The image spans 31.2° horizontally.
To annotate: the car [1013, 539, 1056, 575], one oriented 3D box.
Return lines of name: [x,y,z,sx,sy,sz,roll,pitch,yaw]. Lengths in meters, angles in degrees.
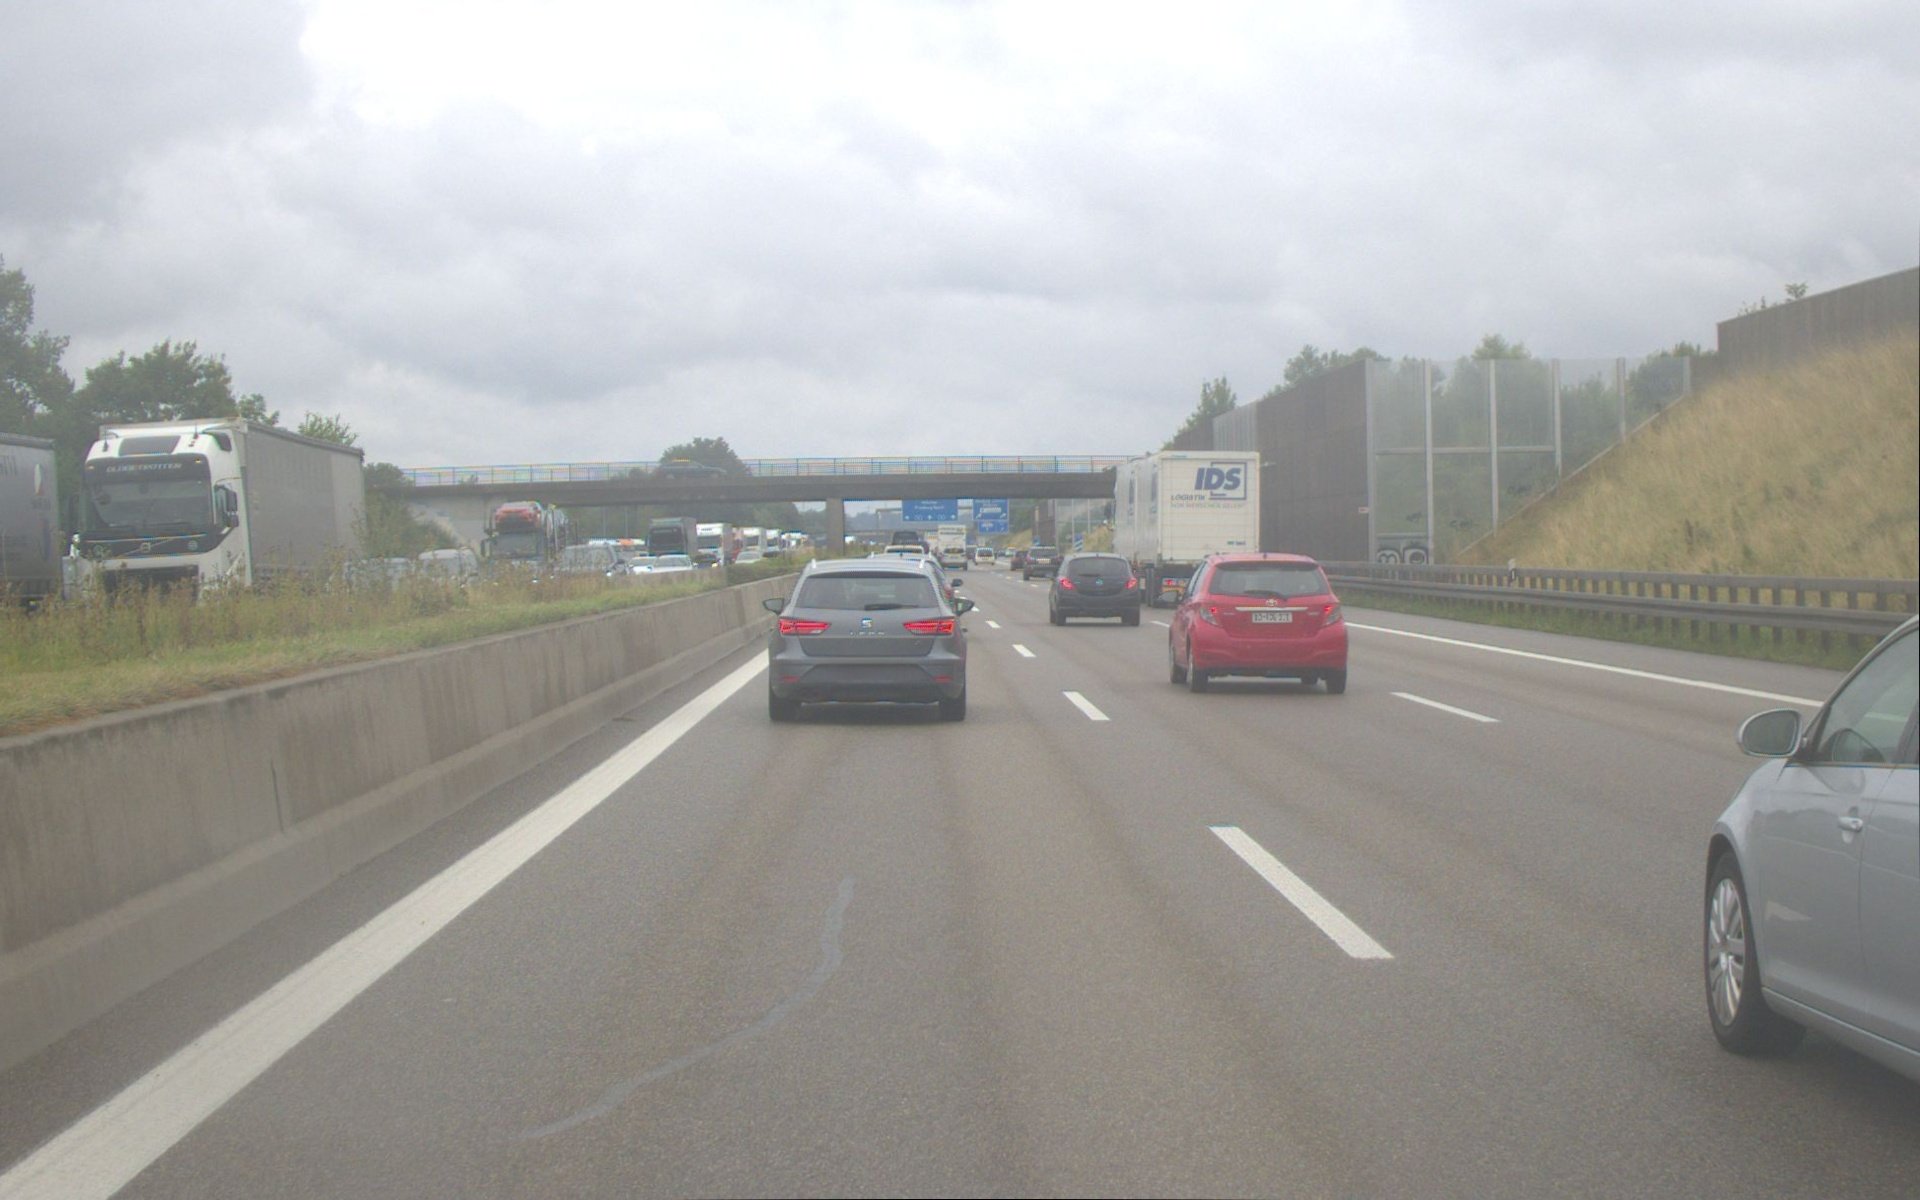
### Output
car: [3.544,-2.047,164.437,1.845,1.681,4.000,1,0,-2]

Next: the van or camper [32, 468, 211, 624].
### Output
van or camper: [-19.747,-1.247,81.383,2.708,3.491,7.701,1,0,-3]

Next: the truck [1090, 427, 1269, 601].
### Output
truck: [5.842,-2.224,95.267,3.283,4.280,19.034,1,0,-1]

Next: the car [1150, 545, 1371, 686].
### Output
car: [3.249,0.119,38.021,1.891,1.442,4.685,0,1,-2]

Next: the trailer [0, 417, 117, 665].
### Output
trailer: [-18.366,-1.048,59.770,3.713,4.256,15.625,1,0,-1]

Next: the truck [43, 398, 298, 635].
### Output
truck: [-13.957,-1.432,61.309,3.092,3.962,6.372,1,0,-1]

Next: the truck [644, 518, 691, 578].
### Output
truck: [-20.204,-3.586,237.524,2.757,4.036,6.255,1,0,-1]

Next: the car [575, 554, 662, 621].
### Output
car: [-9.567,-0.378,96.737,1.993,1.758,5.072,-1,1,-1]

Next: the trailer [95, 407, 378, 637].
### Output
trailer: [-14.037,-1.454,67.931,3.086,4.075,12.330,1,0,-1]

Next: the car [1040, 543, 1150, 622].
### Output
car: [2.700,-0.384,69.742,1.921,1.516,4.623,0,1,-1]

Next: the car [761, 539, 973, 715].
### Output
car: [-0.836,0.215,31.031,1.768,1.462,4.000,1,0,-1]

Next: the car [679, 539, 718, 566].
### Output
car: [-16.861,-3.073,221.704,2.093,1.704,4.800,0,1,0]

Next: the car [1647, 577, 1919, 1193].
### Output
car: [3.122,0.673,8.770,1.742,1.420,4.517,-1,1,-1]

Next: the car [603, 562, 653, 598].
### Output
car: [-16.382,-0.983,169.820,2.093,1.704,5.166,0,1,-2]

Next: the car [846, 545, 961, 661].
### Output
car: [-0.945,0.015,57.503,1.825,1.844,4.000,-1,1,-1]

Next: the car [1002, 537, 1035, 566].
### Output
car: [3.815,-3.218,226.011,1.993,1.806,4.228,-2,1,-1]

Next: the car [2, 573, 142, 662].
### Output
car: [-19.330,0.351,75.031,2.090,1.747,5.136,2,1,-5]

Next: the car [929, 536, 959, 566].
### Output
car: [-1.088,-3.313,232.245,1.993,2.007,4.242,1,0,-1]
